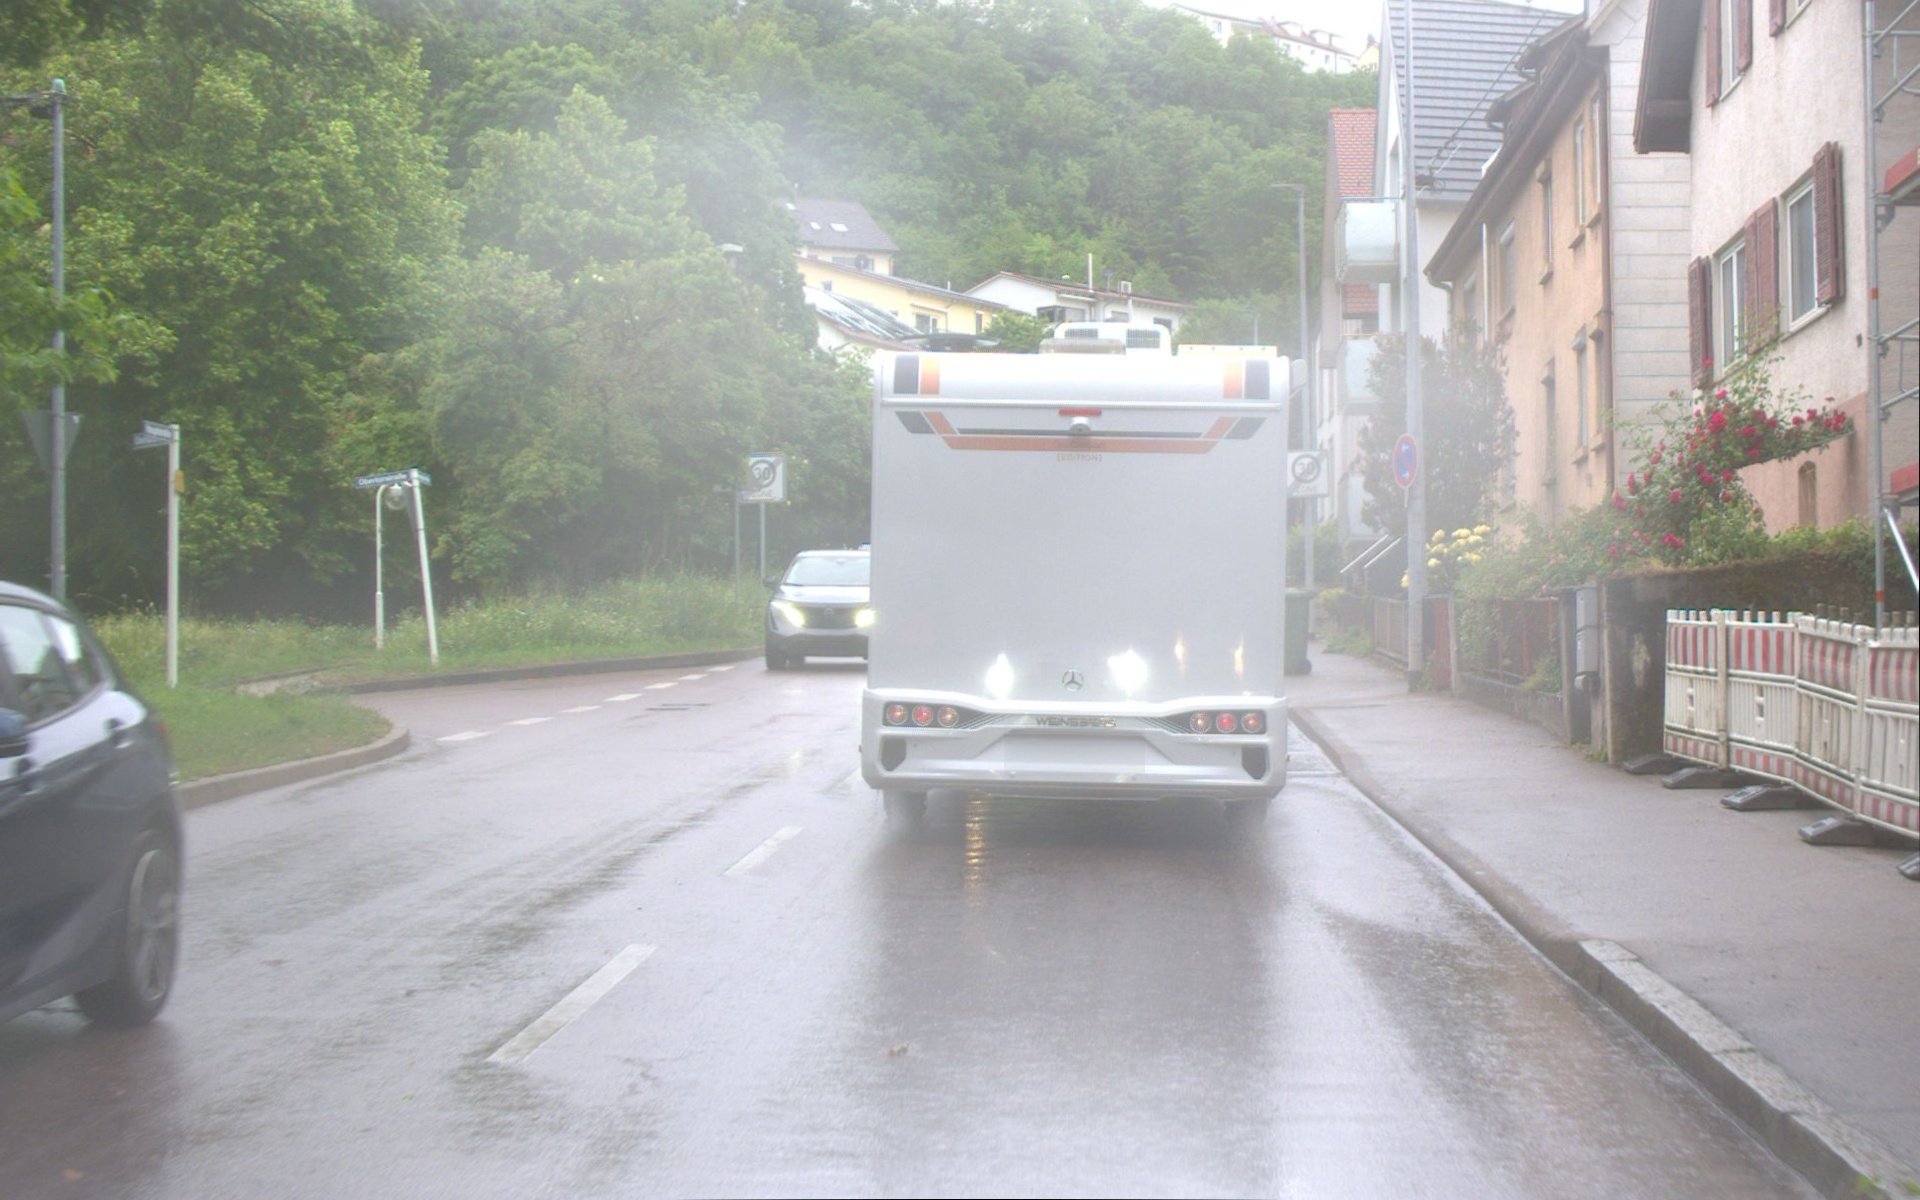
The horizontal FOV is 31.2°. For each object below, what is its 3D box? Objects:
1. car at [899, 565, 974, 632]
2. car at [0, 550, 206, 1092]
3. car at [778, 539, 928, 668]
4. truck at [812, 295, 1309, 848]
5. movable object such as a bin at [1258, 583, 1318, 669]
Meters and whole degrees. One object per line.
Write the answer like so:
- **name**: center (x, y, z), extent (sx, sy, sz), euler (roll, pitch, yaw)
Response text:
- **car**: center (-0.518, -0.056, 78.760), extent (1.560, 1.449, 4.084), euler (1, 1, 1)
- **car**: center (-3.423, 0.574, 9.304), extent (1.765, 1.436, 4.064), euler (1, 1, 1)
- **car**: center (-1.434, 0.024, 47.709), extent (1.751, 1.683, 4.376), euler (1, 1, 2)
- **truck**: center (0.603, -0.182, 20.839), extent (2.515, 2.808, 6.201), euler (1, 1, 2)
- **movable object such as a bin**: center (4.122, 0.318, 43.165), extent (0.720, 1.048, 0.800), euler (1, 1, 6)
